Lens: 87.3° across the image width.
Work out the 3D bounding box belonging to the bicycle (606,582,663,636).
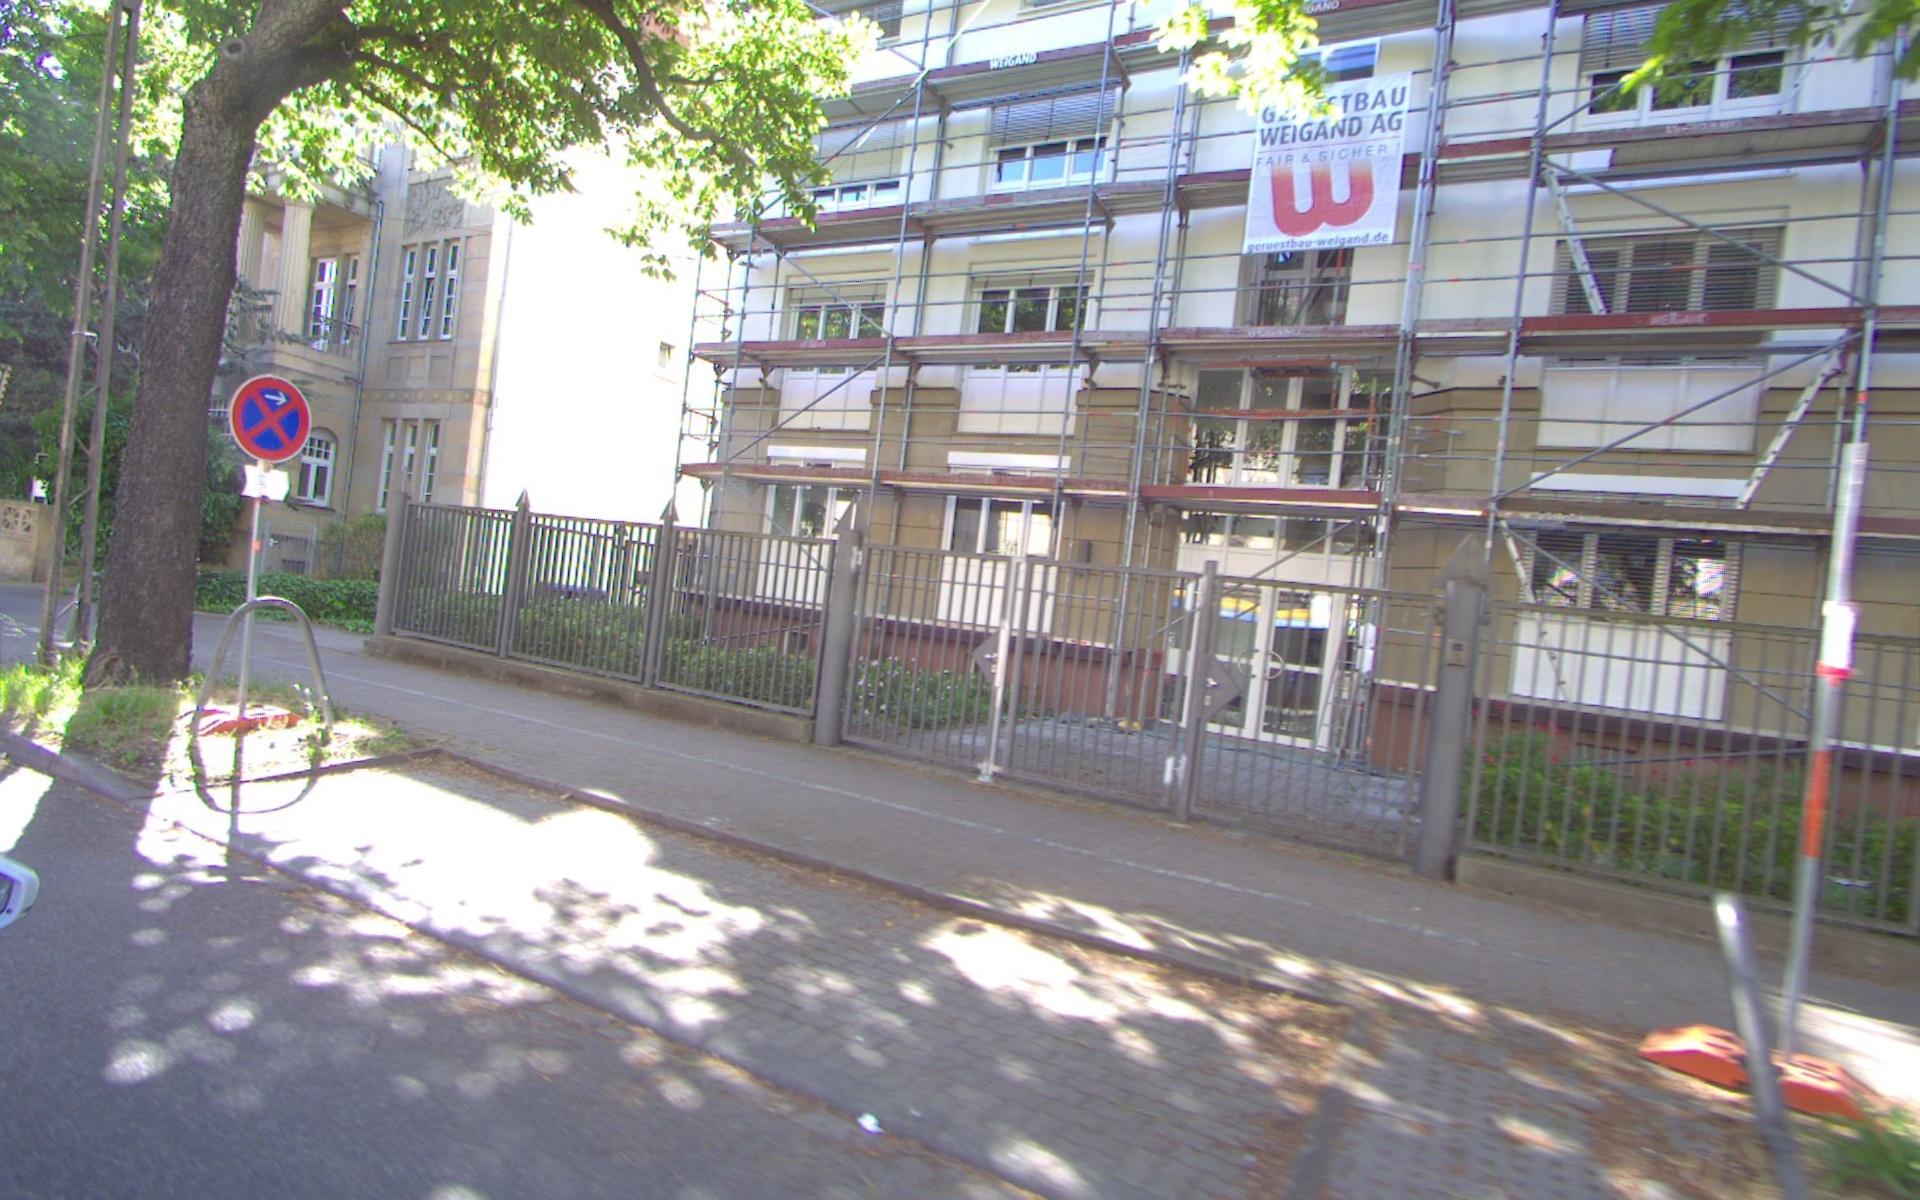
[{"bbox_3d":[-8.240,0.243,25.557,0.428,1.213,1.702,6,-2,14],"label":"bicycle"}]

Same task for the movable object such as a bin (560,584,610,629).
[{"bbox_3d":[-9.151,0.156,24.578,0.637,0.965,0.836,6,-2,30],"label":"movable object such as a bin"}]
